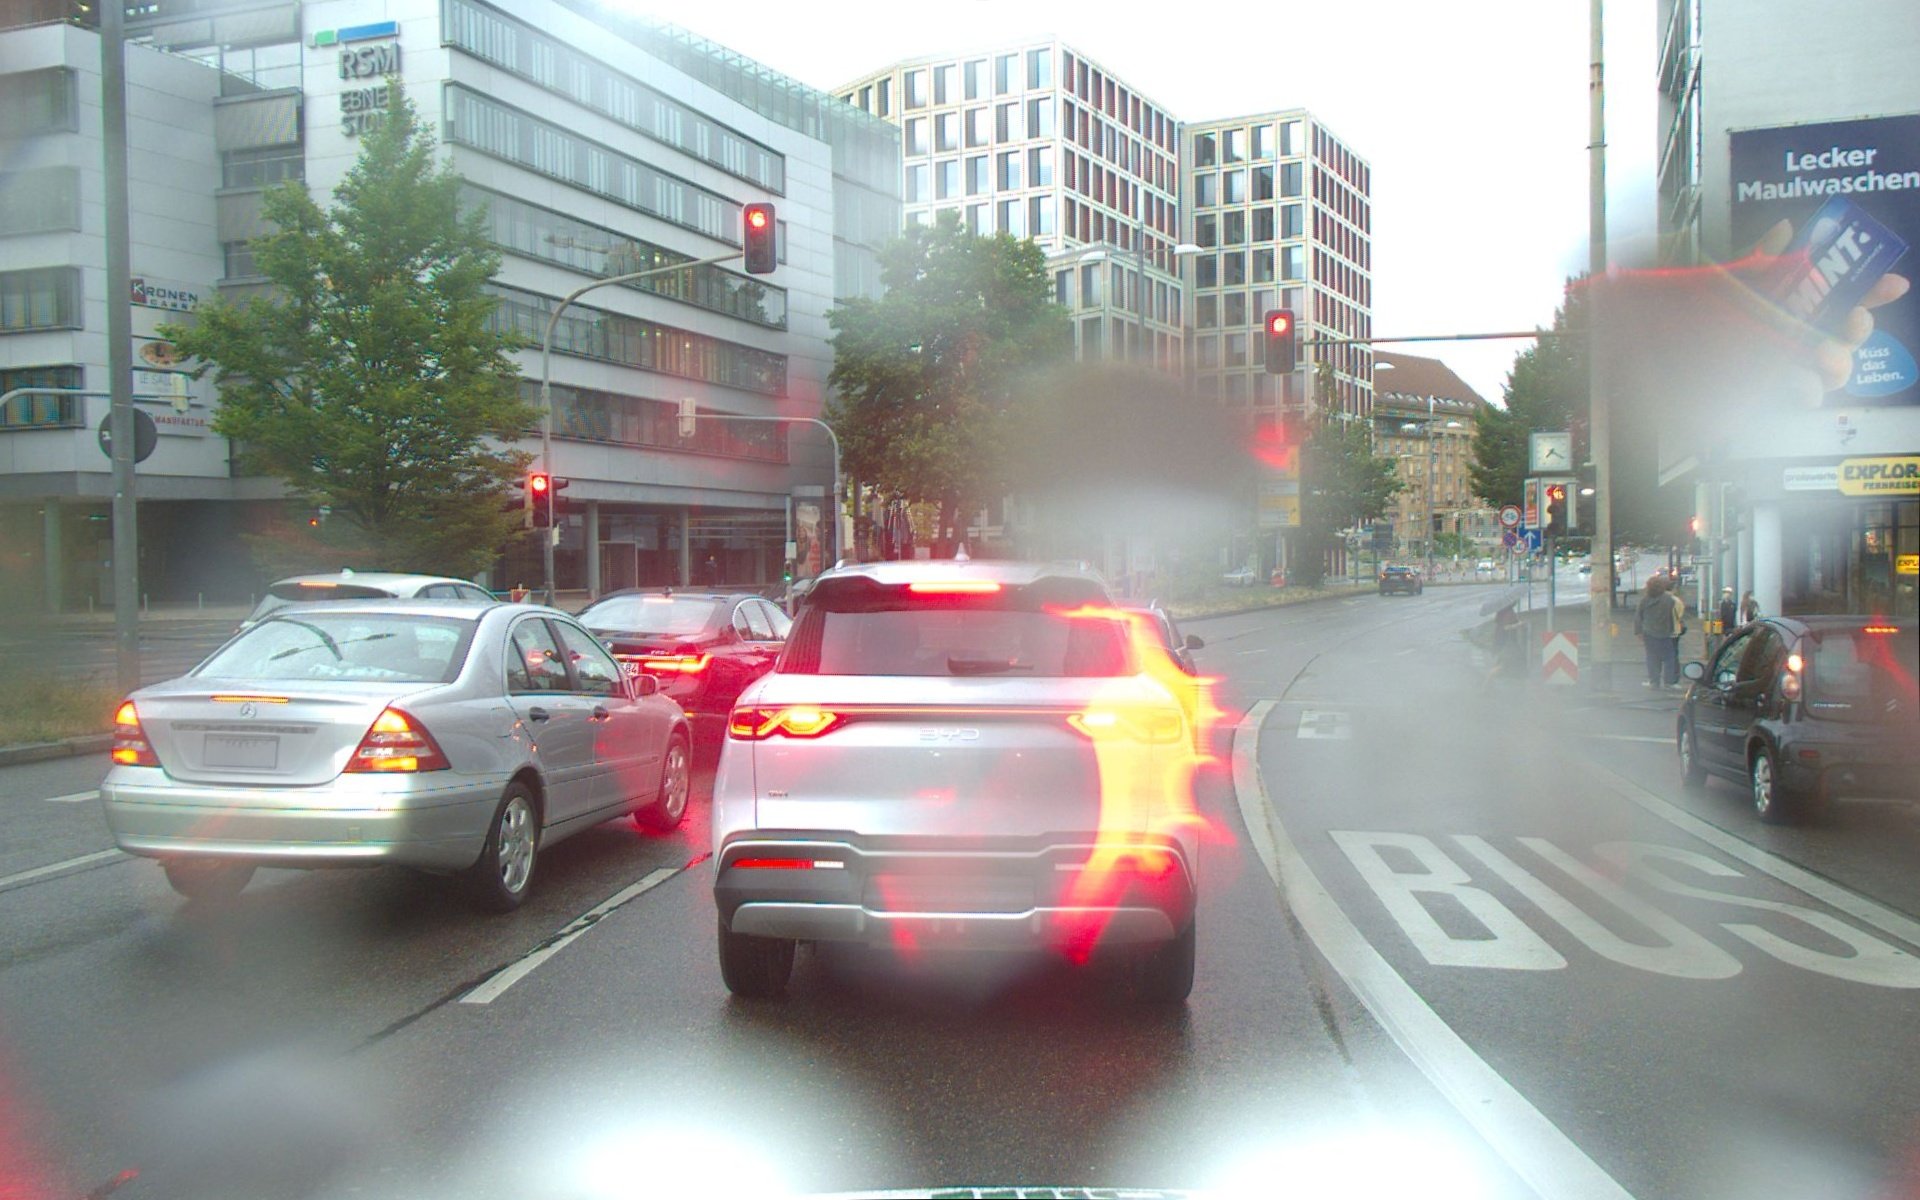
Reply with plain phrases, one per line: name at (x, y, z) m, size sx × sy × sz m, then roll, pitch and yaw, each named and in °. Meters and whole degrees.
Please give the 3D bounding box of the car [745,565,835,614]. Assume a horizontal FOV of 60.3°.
car at (-6.368, -0.426, 62.432) m, size 1.952 × 1.735 × 4.003 m, roll 1°, pitch 2°, yaw 18°

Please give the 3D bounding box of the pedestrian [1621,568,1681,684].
pedestrian at (11.083, 0.409, 26.562) m, size 0.795 × 1.830 × 0.711 m, roll 0°, pitch 0°, yaw 15°

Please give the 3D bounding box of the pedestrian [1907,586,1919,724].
pedestrian at (12.990, 0.719, 21.510) m, size 1.000 × 1.786 × 0.790 m, roll 0°, pitch 0°, yaw 44°

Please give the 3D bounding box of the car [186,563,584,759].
car at (-5.325, 0.486, 15.926) m, size 1.844 × 1.624 × 4.004 m, roll 0°, pitch 1°, yaw 11°

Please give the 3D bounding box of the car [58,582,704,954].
car at (-2.725, 0.665, 8.905) m, size 1.646 × 1.512 × 4.199 m, roll 0°, pitch 1°, yaw 6°

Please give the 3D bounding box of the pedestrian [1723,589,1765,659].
pedestrian at (17.621, 0.541, 37.180) m, size 0.712 × 1.551 × 0.760 m, roll 0°, pitch -1°, yaw 15°

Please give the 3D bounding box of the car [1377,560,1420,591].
car at (23.261, -1.282, 87.721) m, size 1.952 × 1.579 × 4.002 m, roll 1°, pitch 1°, yaw 18°

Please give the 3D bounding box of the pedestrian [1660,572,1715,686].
pedestrian at (11.799, 0.457, 26.849) m, size 0.712 × 1.830 × 0.740 m, roll 0°, pitch 0°, yaw 15°

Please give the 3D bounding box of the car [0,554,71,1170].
car at (-3.100, 0.643, 2.056) m, size 1.898 × 1.460 × 4.284 m, roll 0°, pitch 1°, yaw -4°

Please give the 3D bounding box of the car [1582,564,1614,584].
car at (50.893, -2.049, 131.848) m, size 1.873 × 1.536 × 4.351 m, roll 2°, pitch 1°, yaw 28°

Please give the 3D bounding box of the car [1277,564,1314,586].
car at (28.153, -2.091, 138.744) m, size 1.954 × 1.735 × 4.305 m, roll 1°, pitch 2°, yaw 26°

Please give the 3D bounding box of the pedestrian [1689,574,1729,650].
pedestrian at (16.947, 0.268, 37.446) m, size 0.712 × 1.698 × 0.691 m, roll 0°, pitch -1°, yaw 15°

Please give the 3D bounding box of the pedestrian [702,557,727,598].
pedestrian at (-10.647, -0.986, 71.721) m, size 0.712 × 1.757 × 0.925 m, roll 0°, pitch 0°, yaw 21°

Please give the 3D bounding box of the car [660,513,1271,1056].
car at (0.087, 0.562, 7.556) m, size 1.952 × 1.739 × 4.484 m, roll 0°, pitch 1°, yaw 2°

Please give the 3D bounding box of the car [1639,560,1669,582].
car at (59.968, -2.518, 142.916) m, size 2.007 × 1.796 × 4.351 m, roll 2°, pitch 1°, yaw 27°

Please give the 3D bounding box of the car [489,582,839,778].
car at (-2.557, 0.618, 15.333) m, size 1.913 × 1.557 × 4.004 m, roll 0°, pitch 1°, yaw 10°

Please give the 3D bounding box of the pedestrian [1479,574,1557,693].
pedestrian at (8.441, 0.495, 25.043) m, size 0.904 × 1.768 × 0.729 m, roll 0°, pitch 0°, yaw -6°

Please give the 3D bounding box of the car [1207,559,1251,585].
car at (19.509, -2.032, 119.841) m, size 1.954 × 1.735 × 4.305 m, roll 1°, pitch 2°, yaw 26°

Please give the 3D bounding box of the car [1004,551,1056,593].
car at (3.871, -1.504, 90.491) m, size 1.700 × 2.199 × 4.496 m, roll 1°, pitch 0°, yaw 17°

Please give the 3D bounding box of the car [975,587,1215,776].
car at (1.432, 0.661, 15.893) m, size 1.913 × 1.557 × 4.004 m, roll 0°, pitch 1°, yaw 10°

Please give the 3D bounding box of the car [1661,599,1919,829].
car at (6.684, 0.762, 12.768) m, size 1.626 × 1.498 × 3.487 m, roll 0°, pitch 1°, yaw 11°
